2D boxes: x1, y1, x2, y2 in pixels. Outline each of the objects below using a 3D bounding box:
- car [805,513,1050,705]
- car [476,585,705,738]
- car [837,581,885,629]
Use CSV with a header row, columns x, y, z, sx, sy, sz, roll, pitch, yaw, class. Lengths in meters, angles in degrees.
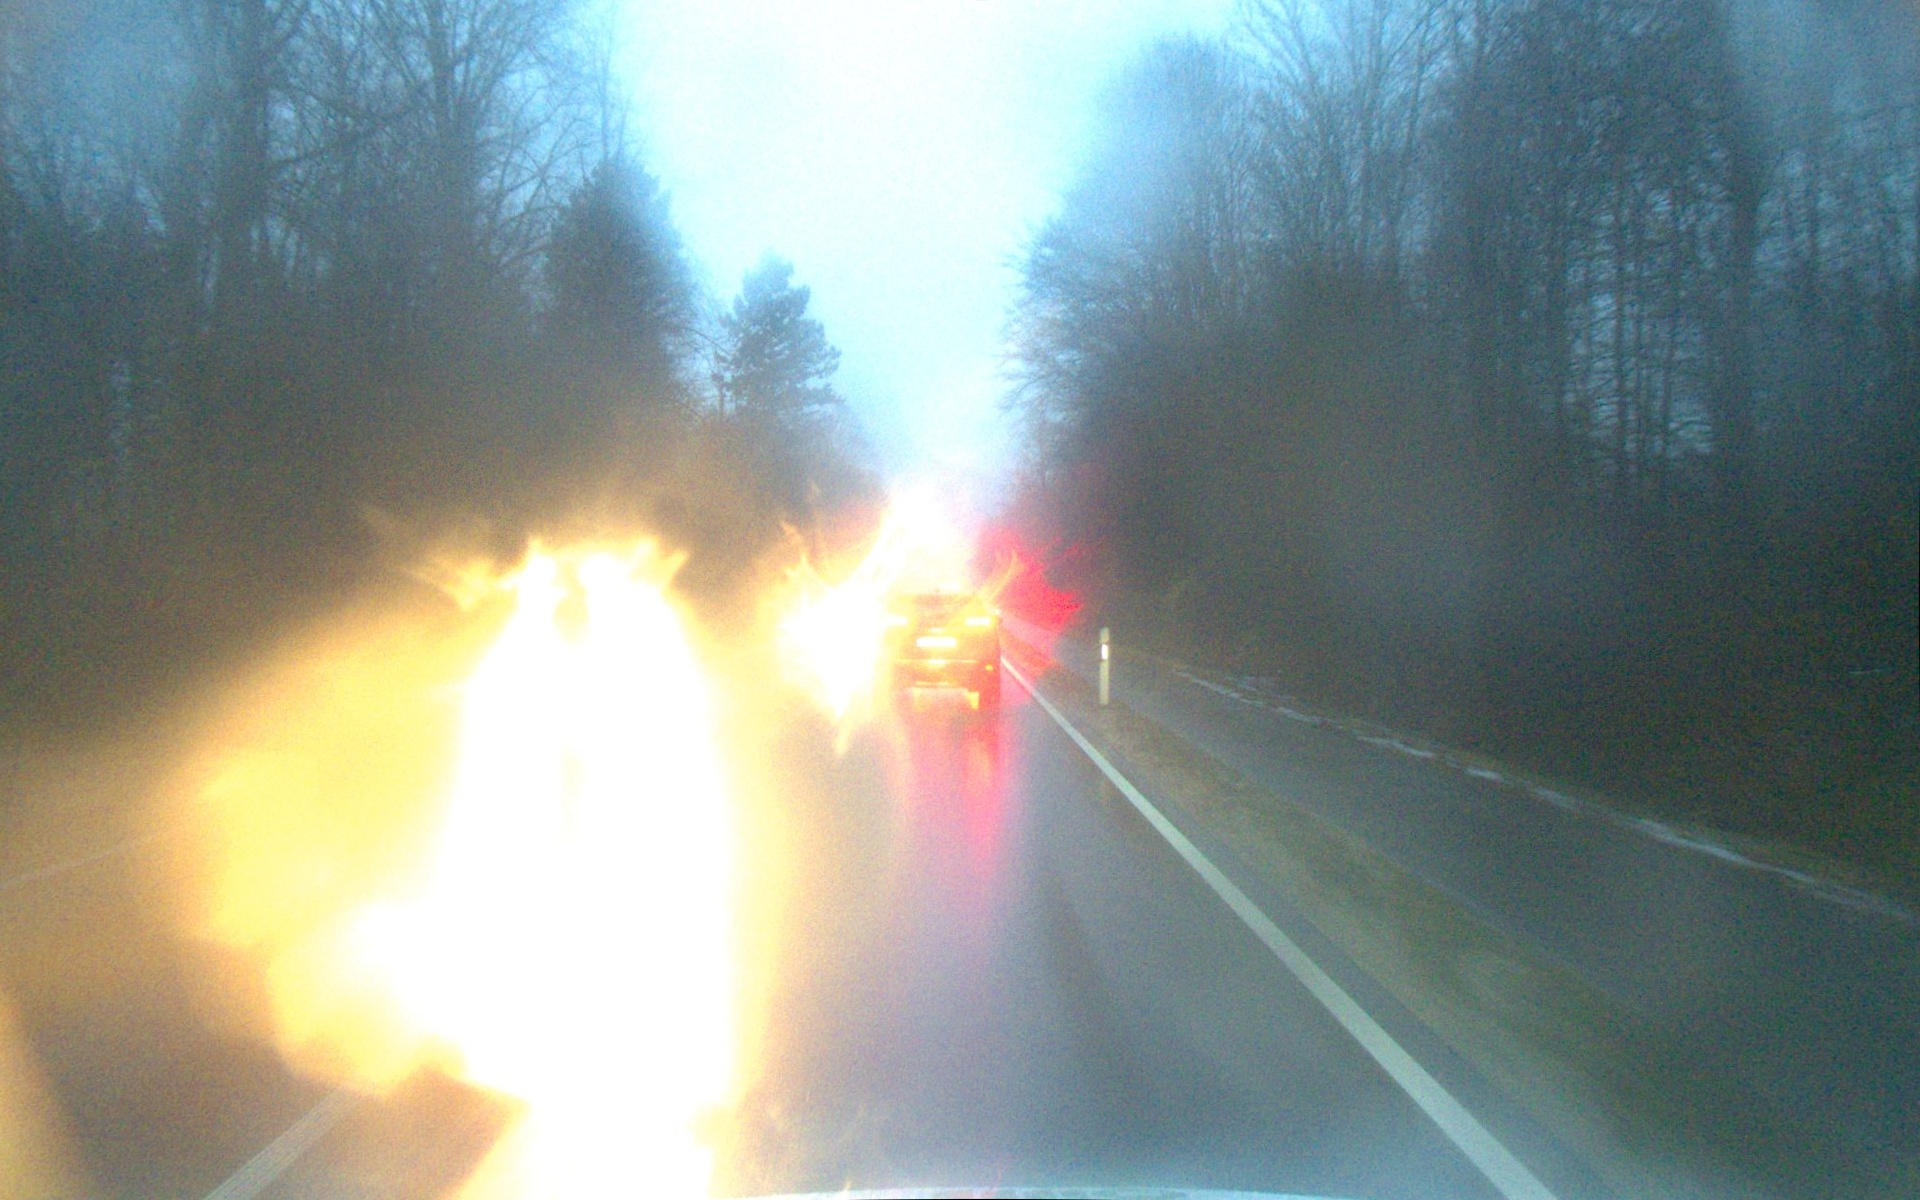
x,y,z,sx,sy,sz,roll,pitch,yaw,class
-0.430,0.109,24.646,3.118,2.428,6.636,1,0,0,car
-4.014,0.609,18.551,1.718,1.483,3.637,-2,0,0,car
-4.102,0.197,69.272,1.760,1.914,4.424,-1,0,-1,car
